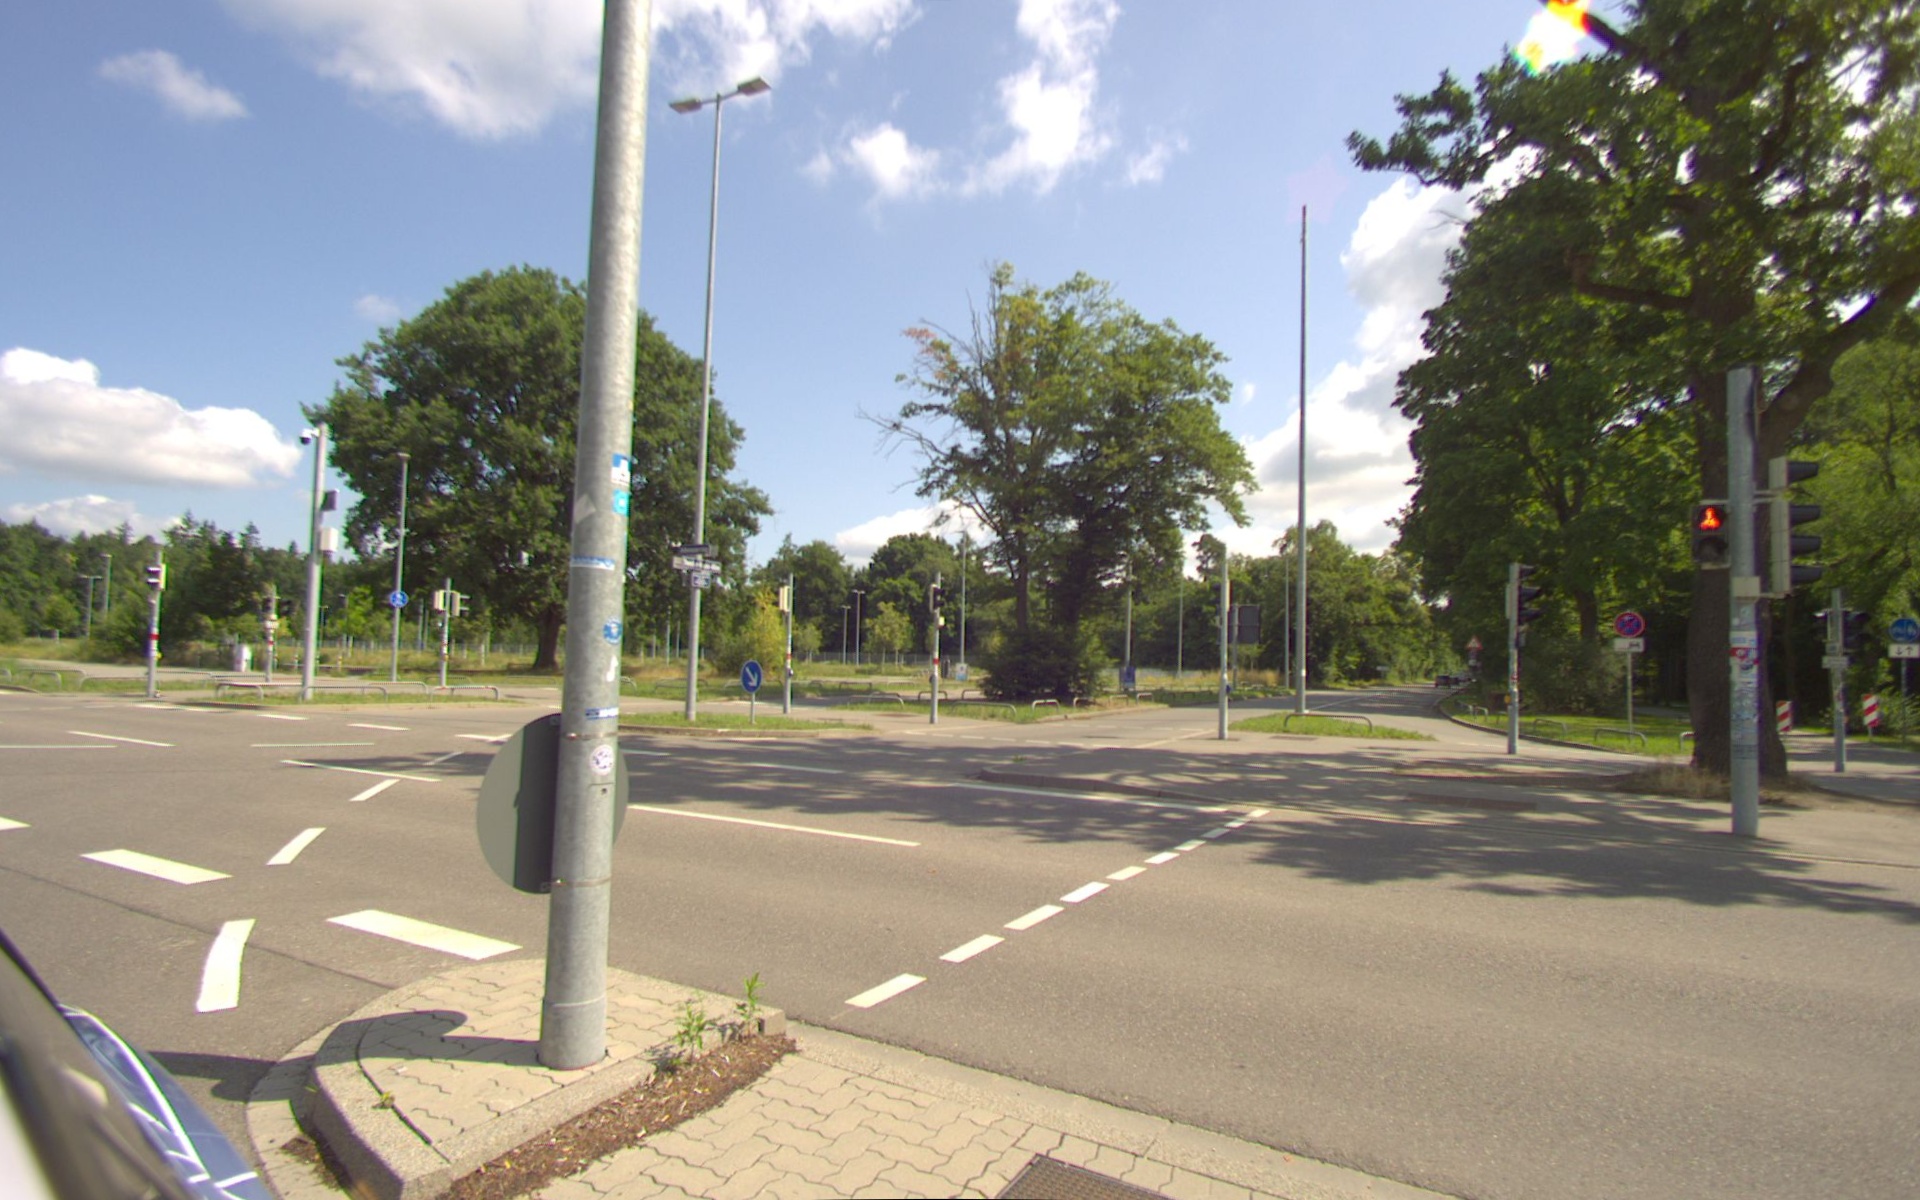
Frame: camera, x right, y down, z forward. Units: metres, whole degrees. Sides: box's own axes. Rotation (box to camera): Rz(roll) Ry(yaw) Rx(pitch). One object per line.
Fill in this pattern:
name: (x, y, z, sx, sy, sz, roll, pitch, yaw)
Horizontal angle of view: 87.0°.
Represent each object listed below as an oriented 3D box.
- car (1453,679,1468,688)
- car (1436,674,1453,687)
car: (80.246, 13.403, 162.335, 1.695, 1.457, 4.021, -3, -4, 32)
car: (61.554, 10.254, 128.531, 1.758, 1.642, 4.258, -3, -6, 27)
